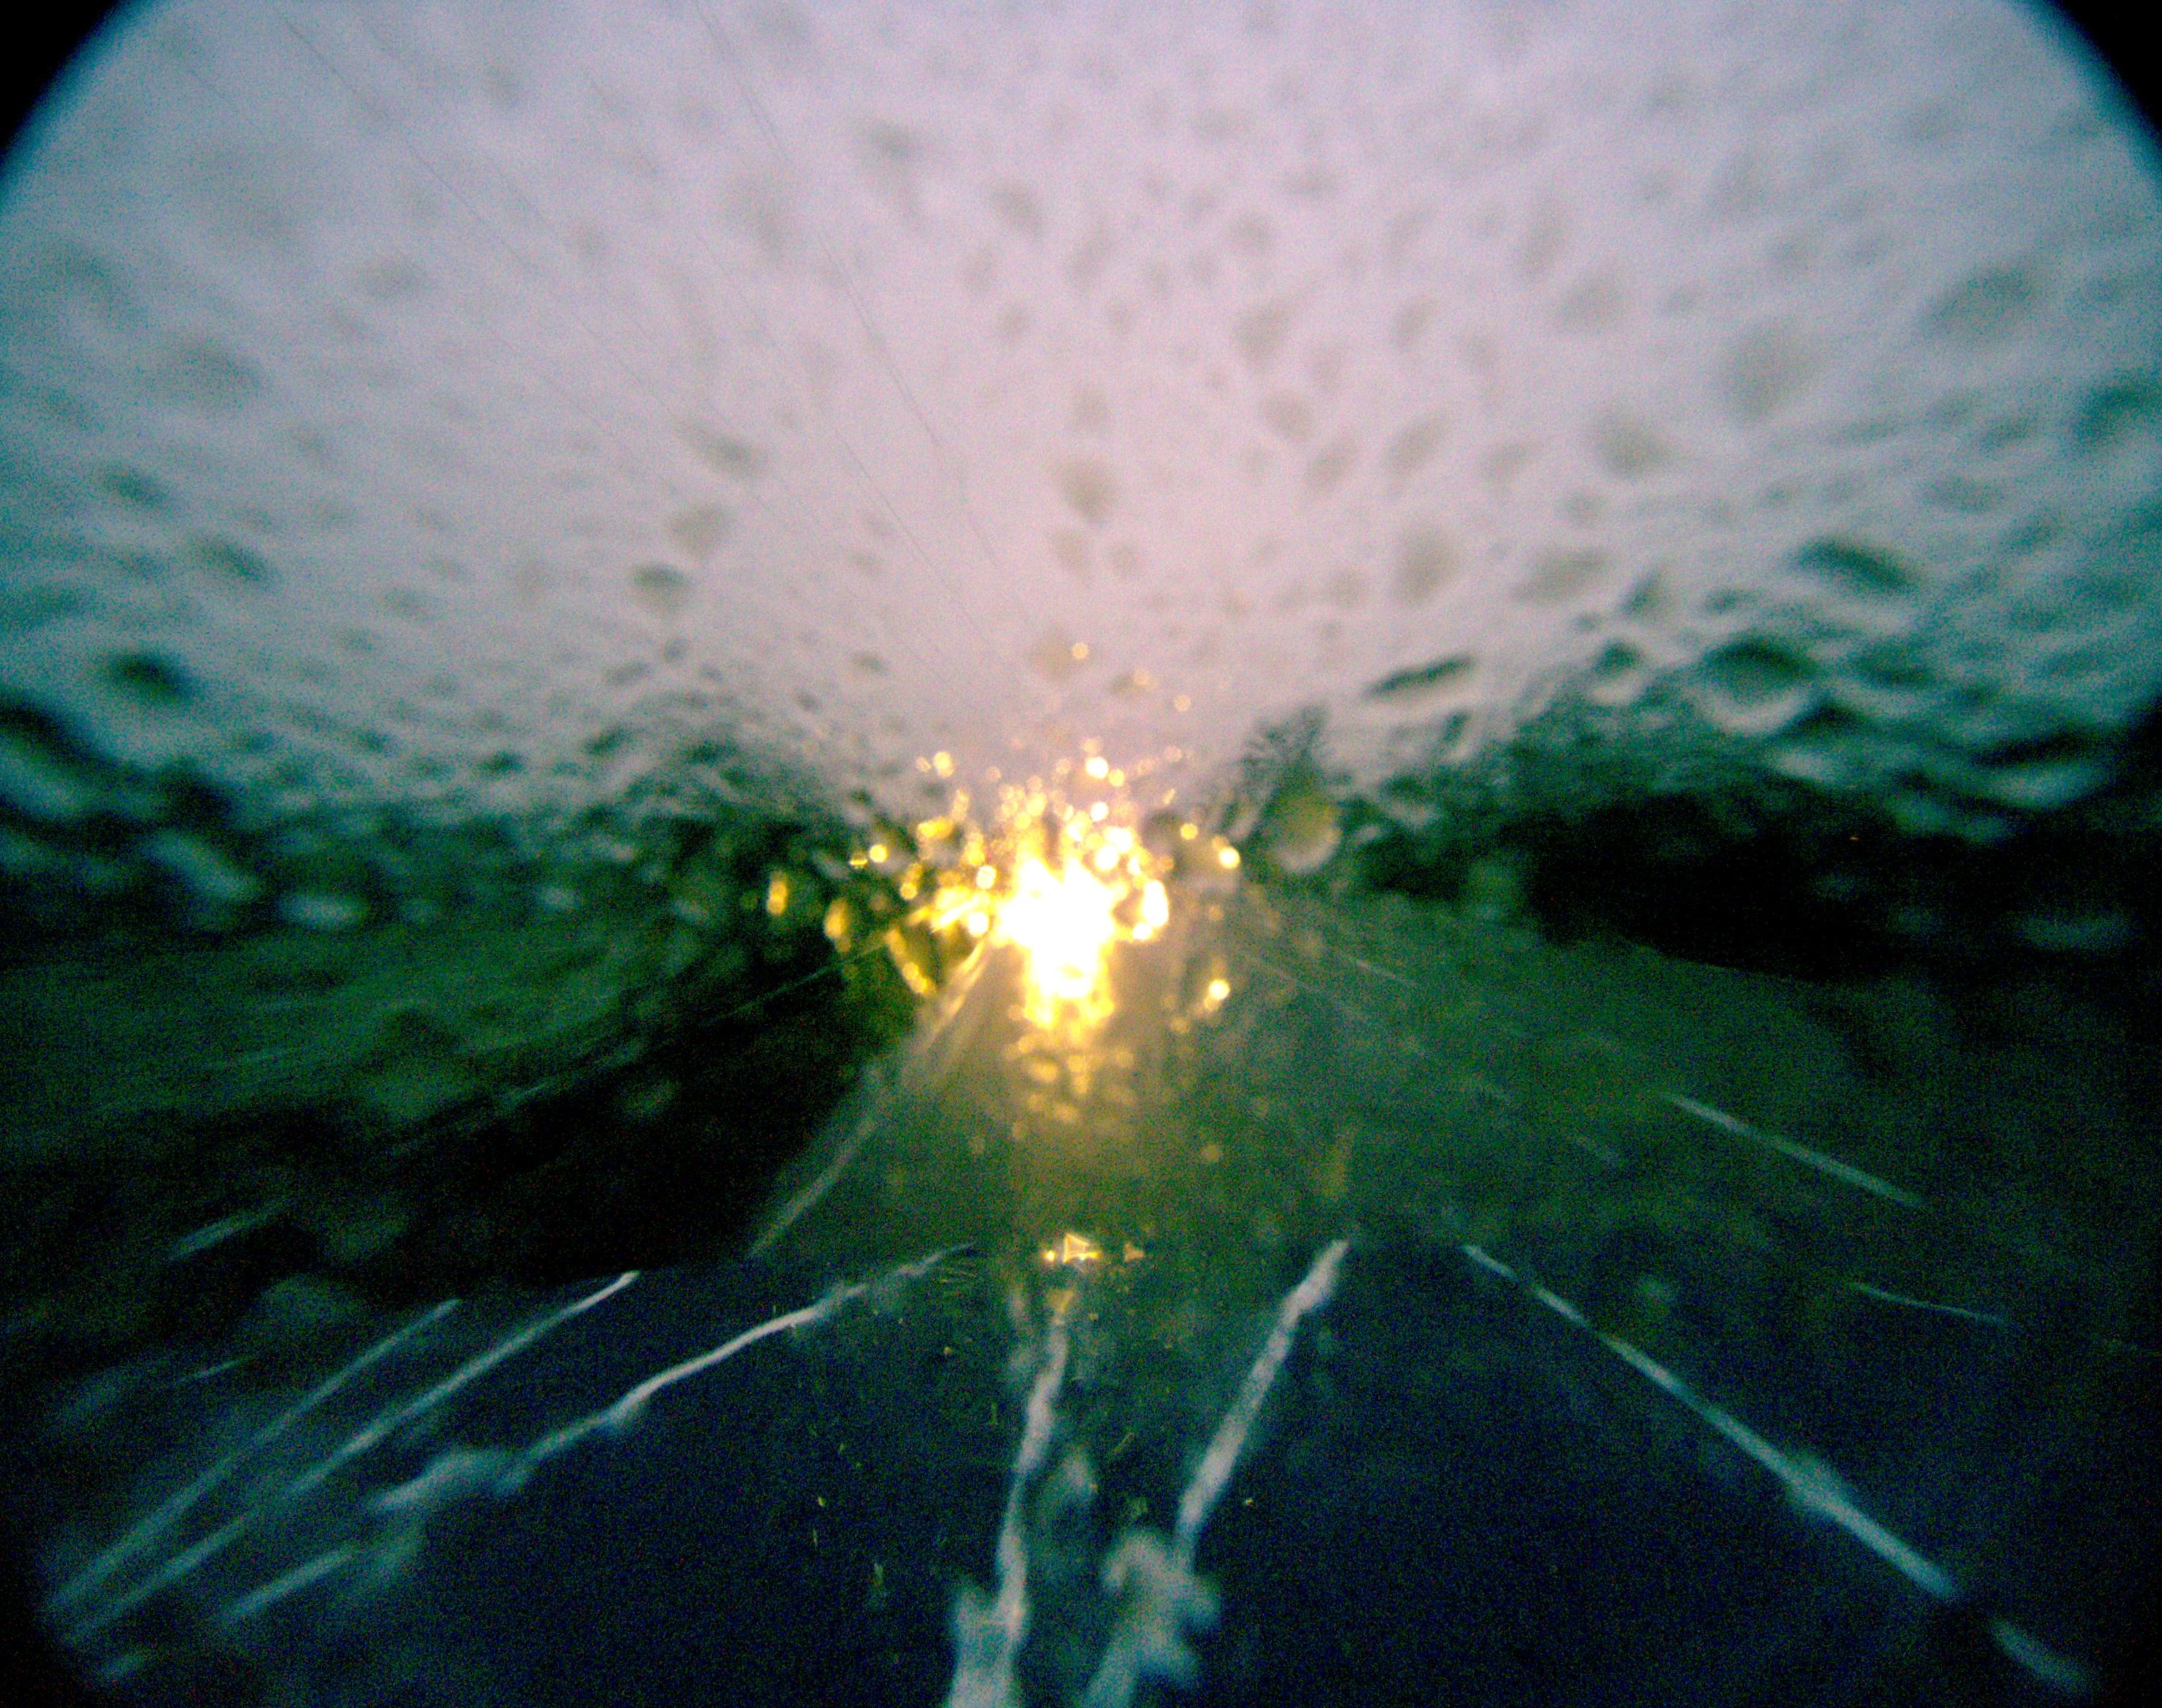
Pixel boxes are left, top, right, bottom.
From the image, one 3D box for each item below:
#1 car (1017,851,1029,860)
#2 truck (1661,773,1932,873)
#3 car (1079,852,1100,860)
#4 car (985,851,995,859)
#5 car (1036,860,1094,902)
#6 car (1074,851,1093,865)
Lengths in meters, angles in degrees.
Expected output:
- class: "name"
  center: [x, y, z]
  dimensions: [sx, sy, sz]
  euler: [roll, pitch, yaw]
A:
- class: "car"
  center: [-10.100, 0.210, 132.240]
  dimensions: [1.999, 1.481, 4.378]
  euler: [-2, 1, -6]
- class: "truck"
  center: [38.077, -1.602, 41.776]
  dimensions: [3.281, 4.584, 13.879]
  euler: [0, 2, 8]
- class: "car"
  center: [1.636, 0.374, 143.452]
  dimensions: [1.596, 1.237, 4.007]
  euler: [-3, 1, 40]
- class: "car"
  center: [-19.278, 0.226, 160.982]
  dimensions: [1.895, 1.580, 4.377]
  euler: [-2, 1, -10]
- class: "car"
  center: [-0.726, 1.072, 30.960]
  dimensions: [1.887, 1.513, 3.998]
  euler: [-3, -1, -7]
- class: "car"
  center: [0.246, 0.479, 87.725]
  dimensions: [1.869, 1.492, 4.520]
  euler: [-1, 0, -3]
